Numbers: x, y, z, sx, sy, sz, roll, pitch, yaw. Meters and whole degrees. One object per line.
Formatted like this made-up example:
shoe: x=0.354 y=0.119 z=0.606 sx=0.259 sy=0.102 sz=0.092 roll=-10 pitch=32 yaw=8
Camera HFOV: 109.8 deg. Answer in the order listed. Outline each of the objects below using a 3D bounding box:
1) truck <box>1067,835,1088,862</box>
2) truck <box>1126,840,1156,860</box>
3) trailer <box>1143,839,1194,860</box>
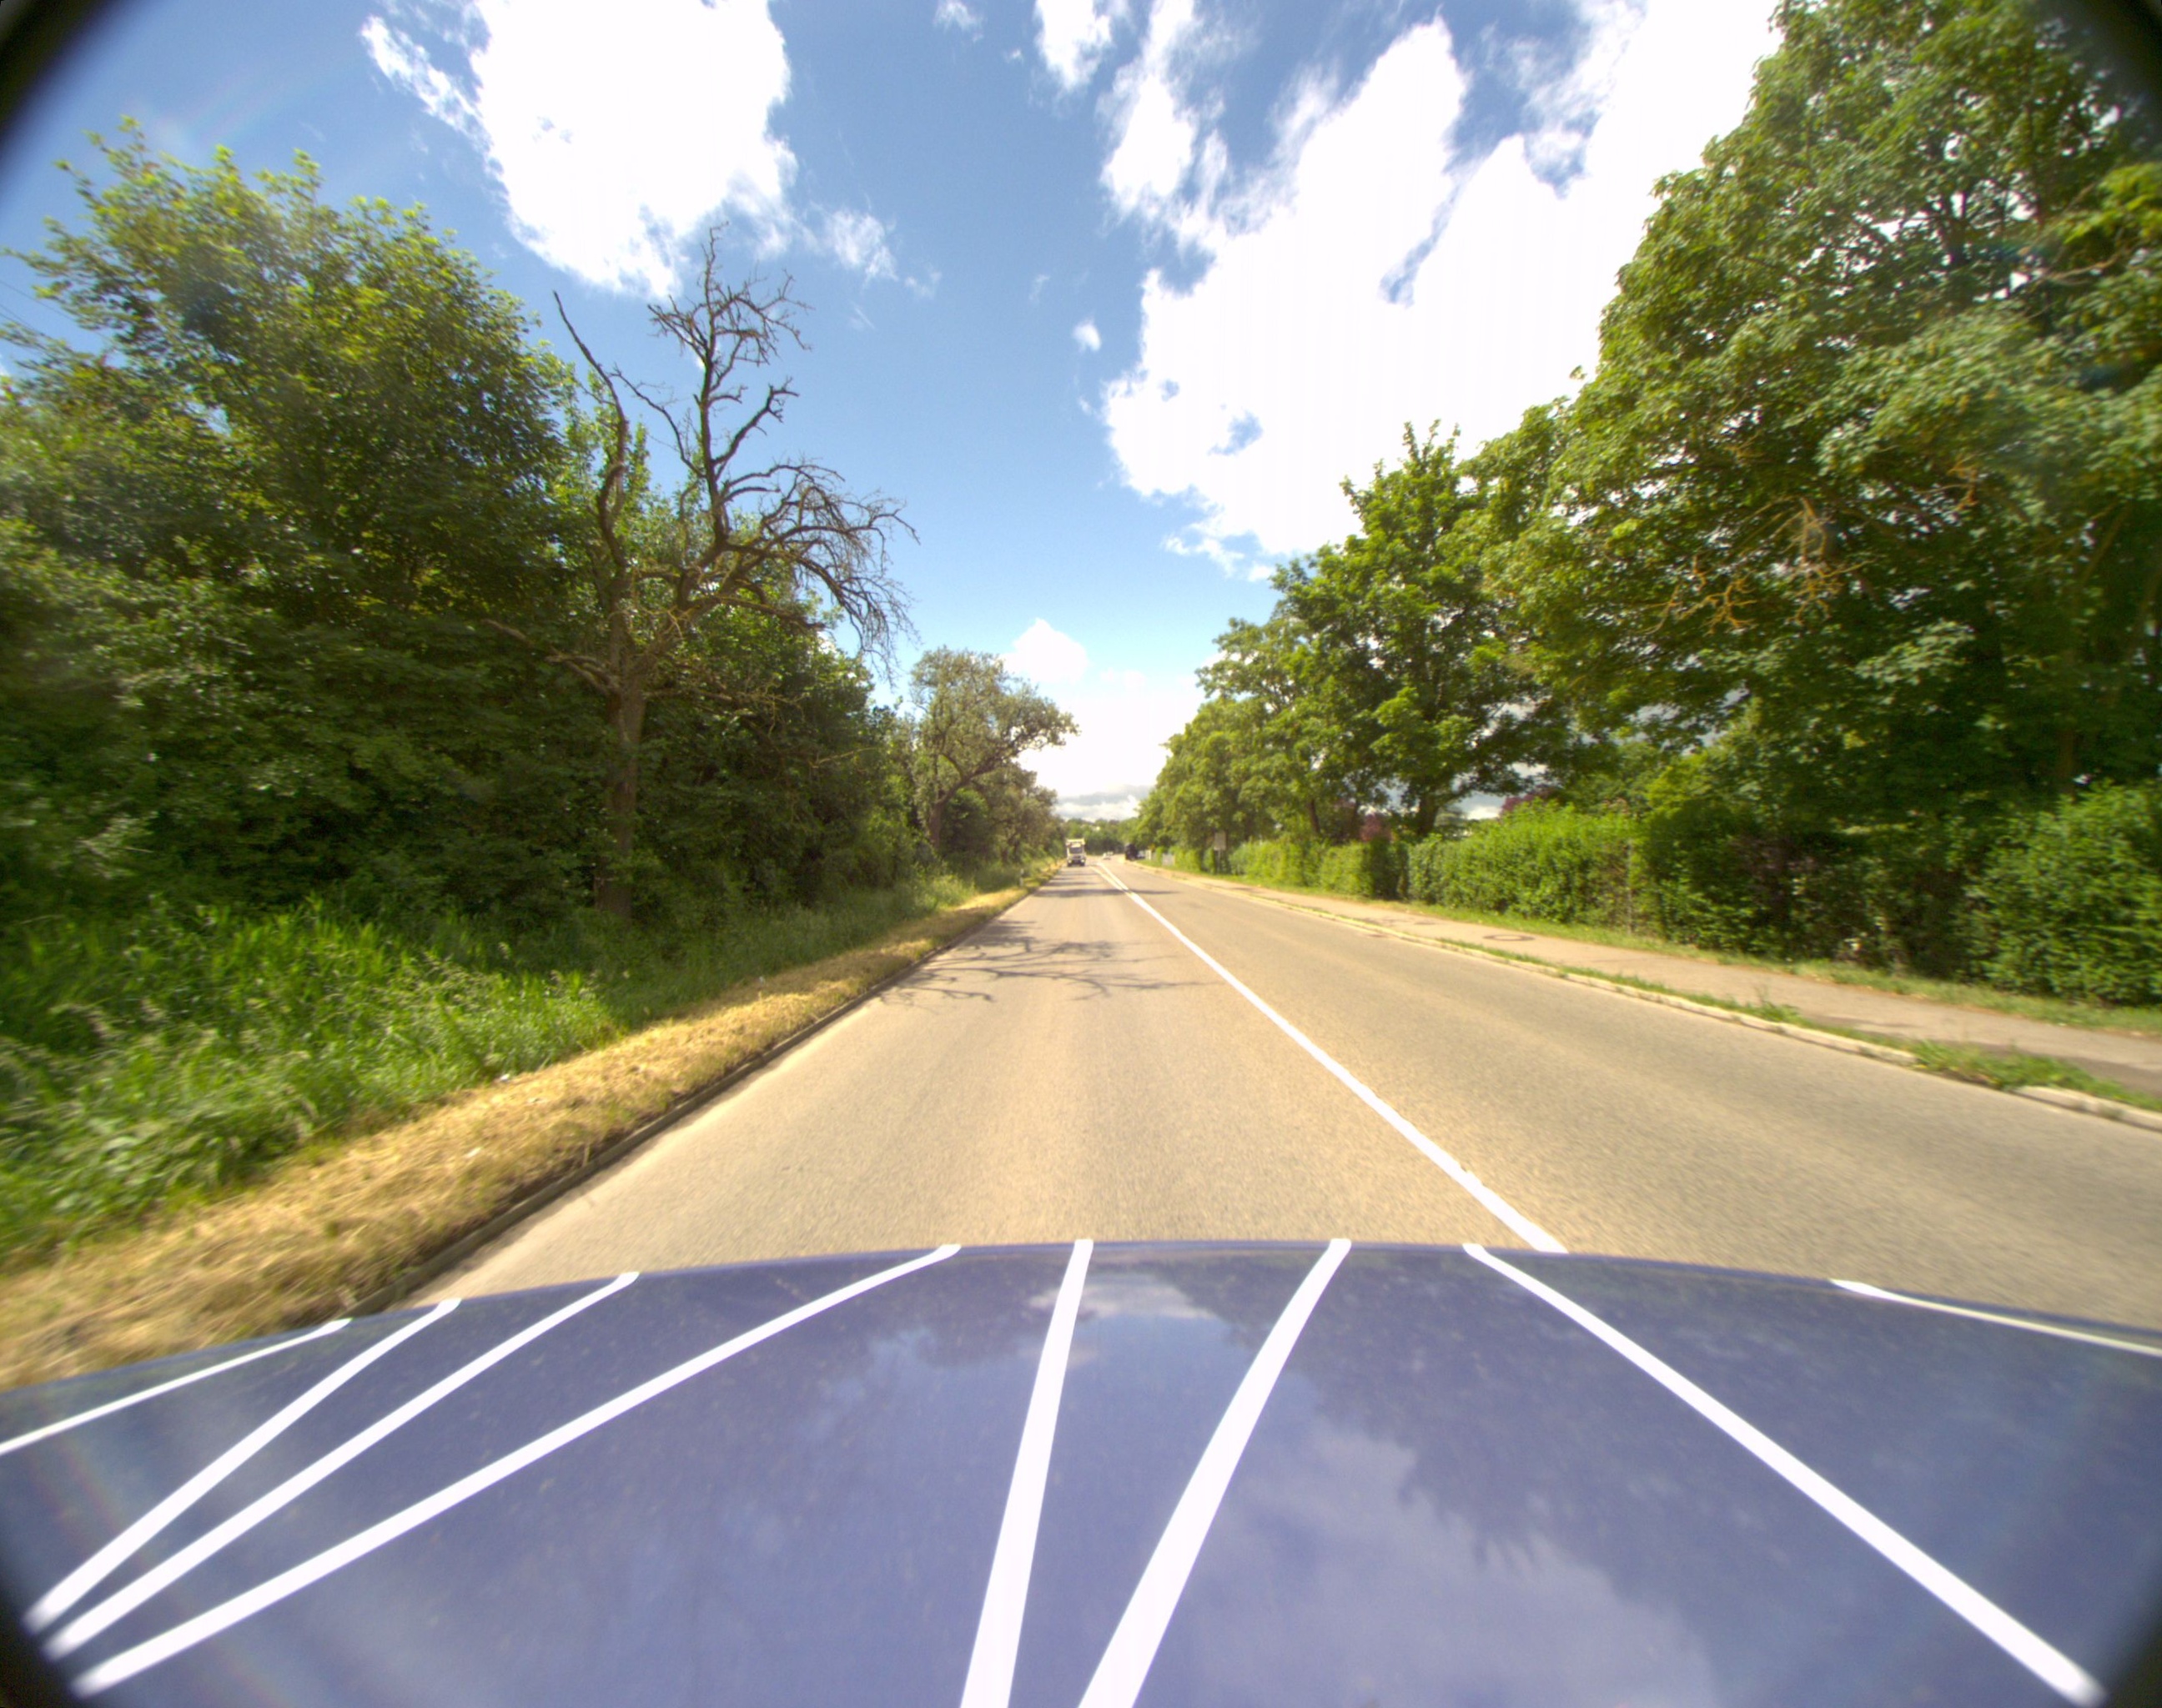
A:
truck: x=-0.454 y=-0.836 z=109.014 sx=2.905 sy=3.746 sz=9.633 roll=0 pitch=1 yaw=0
truck: x=11.722 y=-0.740 z=149.098 sx=5.570 sy=3.802 sz=2.983 roll=0 pitch=1 yaw=-4
trailer: x=17.264 y=-0.845 z=150.310 sx=9.472 sy=4.059 sz=3.315 roll=0 pitch=1 yaw=-15
